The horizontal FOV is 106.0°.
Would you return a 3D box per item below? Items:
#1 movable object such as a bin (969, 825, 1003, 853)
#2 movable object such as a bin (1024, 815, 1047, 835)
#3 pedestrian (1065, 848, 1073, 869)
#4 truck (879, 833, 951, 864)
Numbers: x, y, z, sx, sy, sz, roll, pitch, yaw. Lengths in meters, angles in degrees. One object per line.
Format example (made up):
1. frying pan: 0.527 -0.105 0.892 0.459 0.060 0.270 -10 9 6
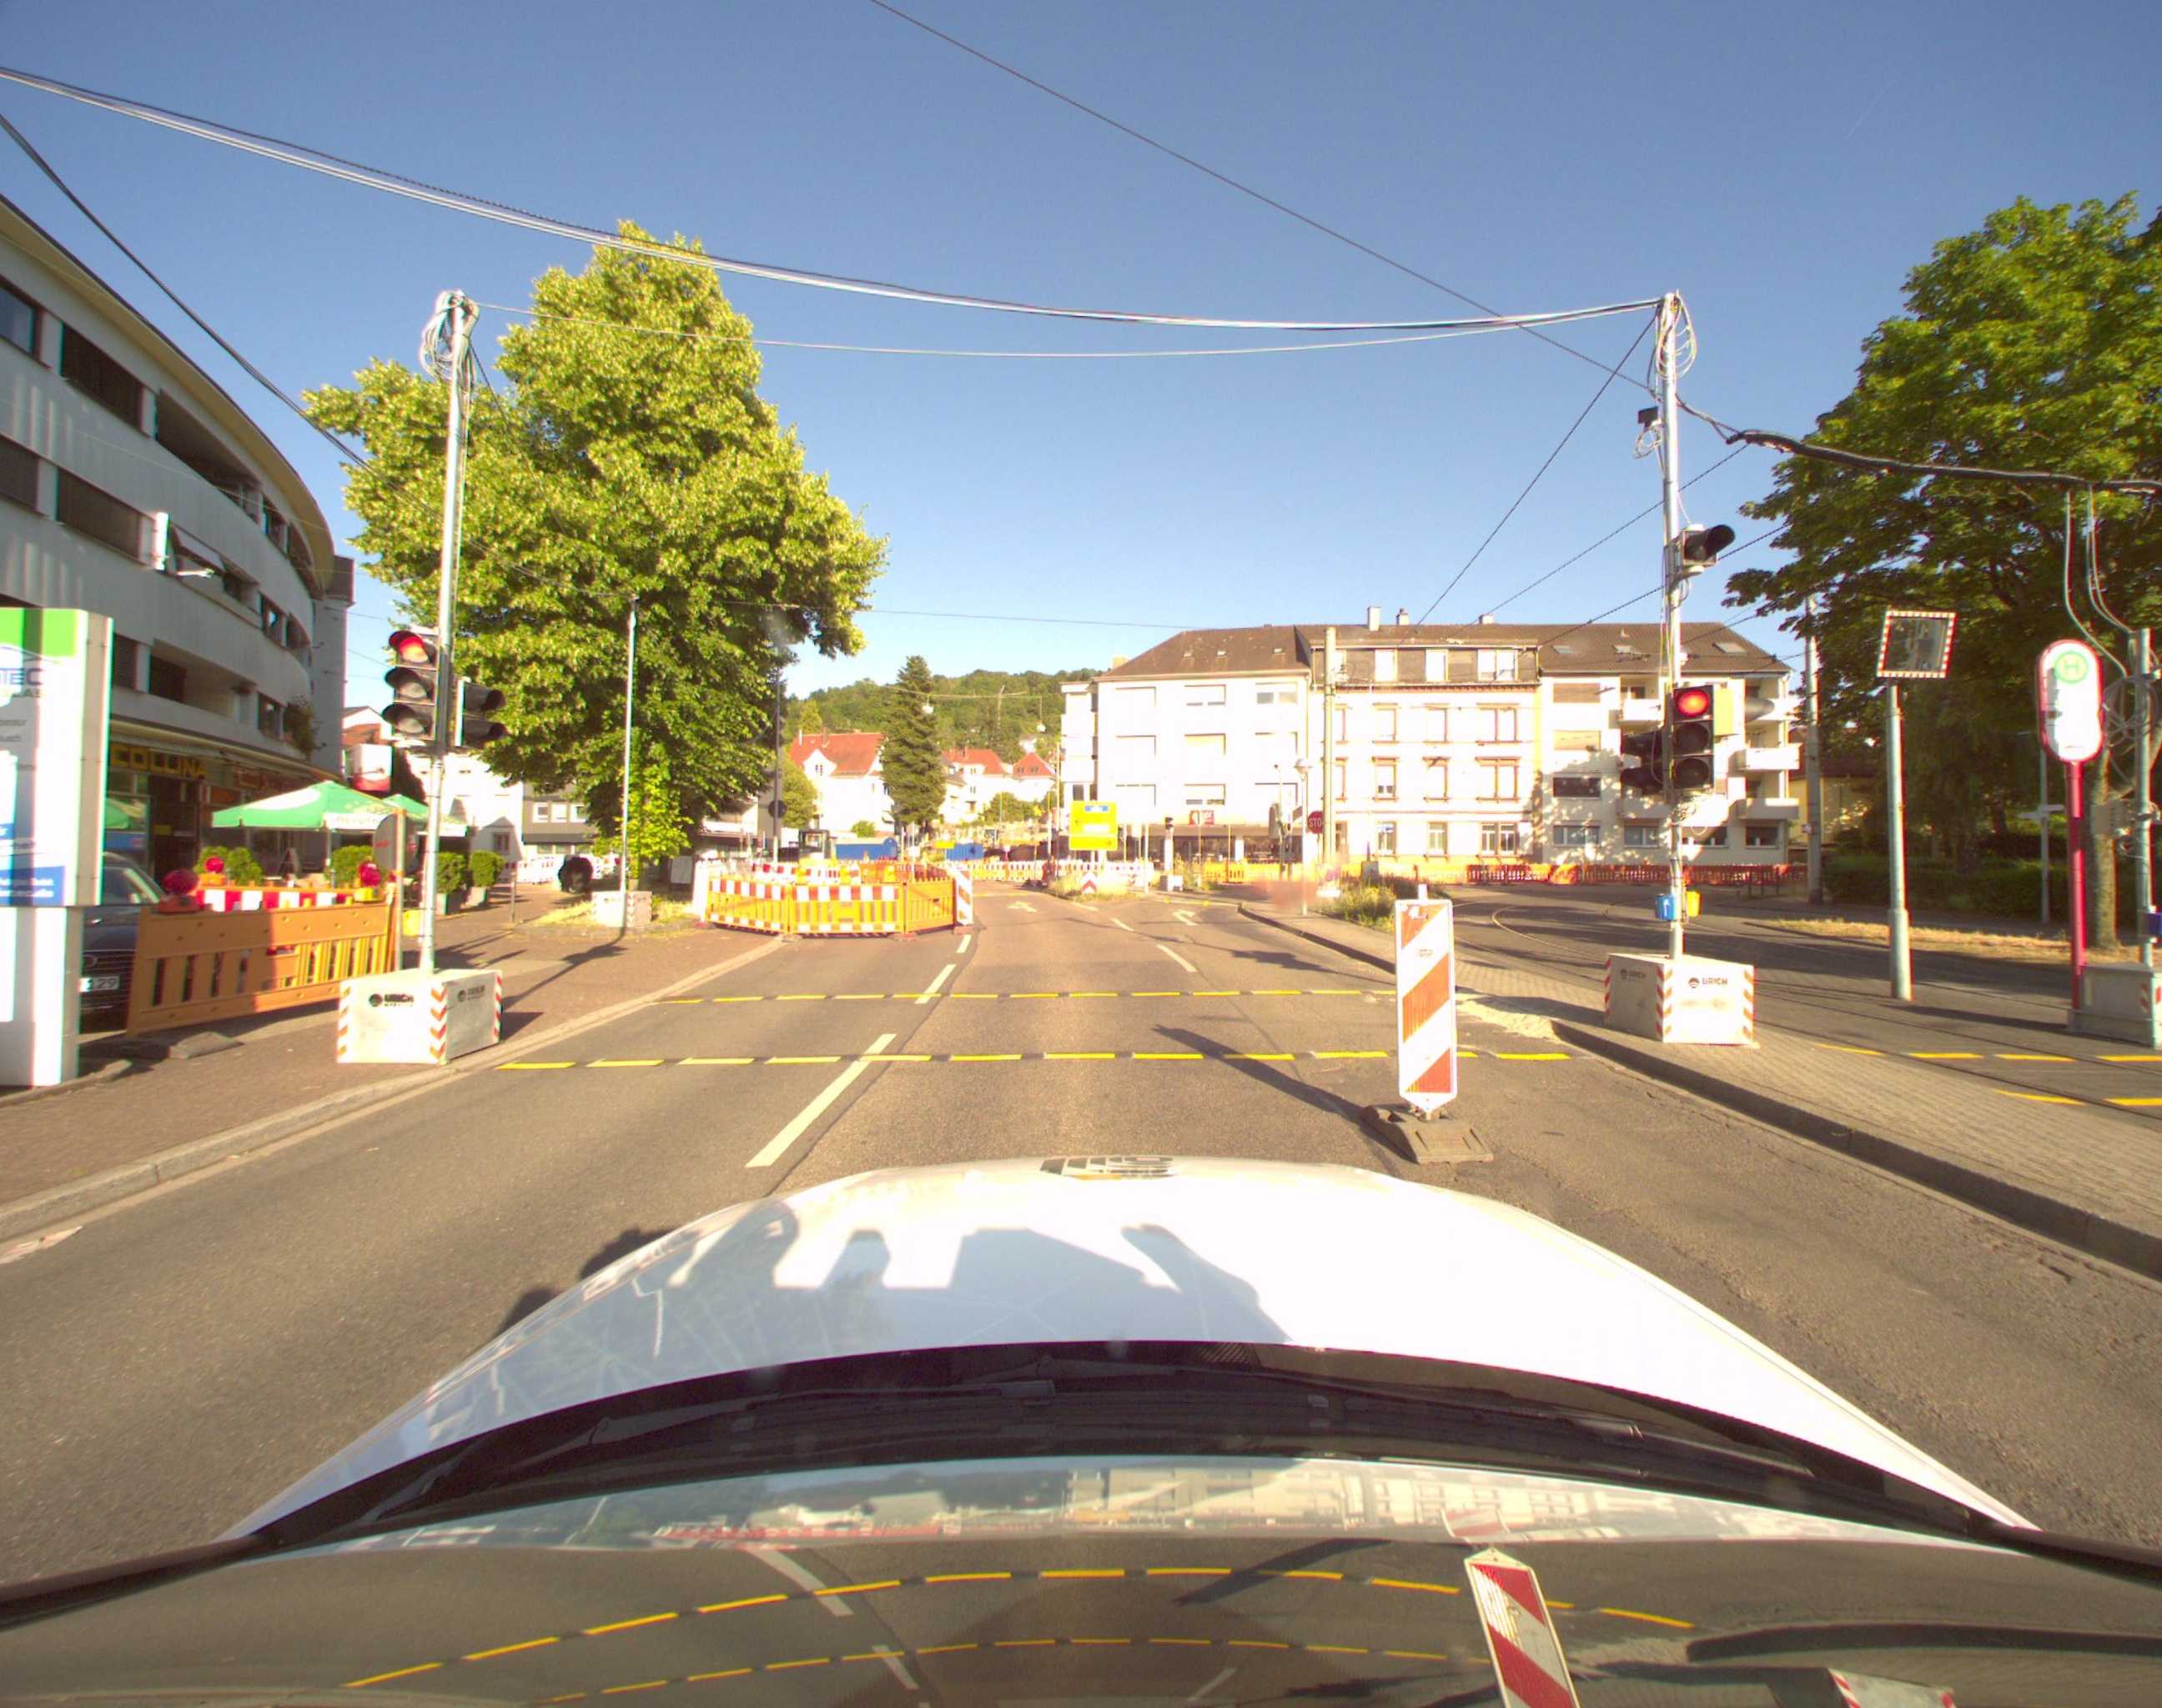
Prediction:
1. movable object such as a bin: -9.249 -1.442 79.643 2.176 2.690 4.013 0 0 12
2. movable object such as a bin: -6.384 -4.031 114.206 2.176 2.690 4.013 0 0 12
3. pedestrian: -0.992 0.357 69.064 0.638 1.760 0.718 0 0 2
4. truck: -13.954 -0.432 69.190 2.340 2.416 9.184 0 0 13
